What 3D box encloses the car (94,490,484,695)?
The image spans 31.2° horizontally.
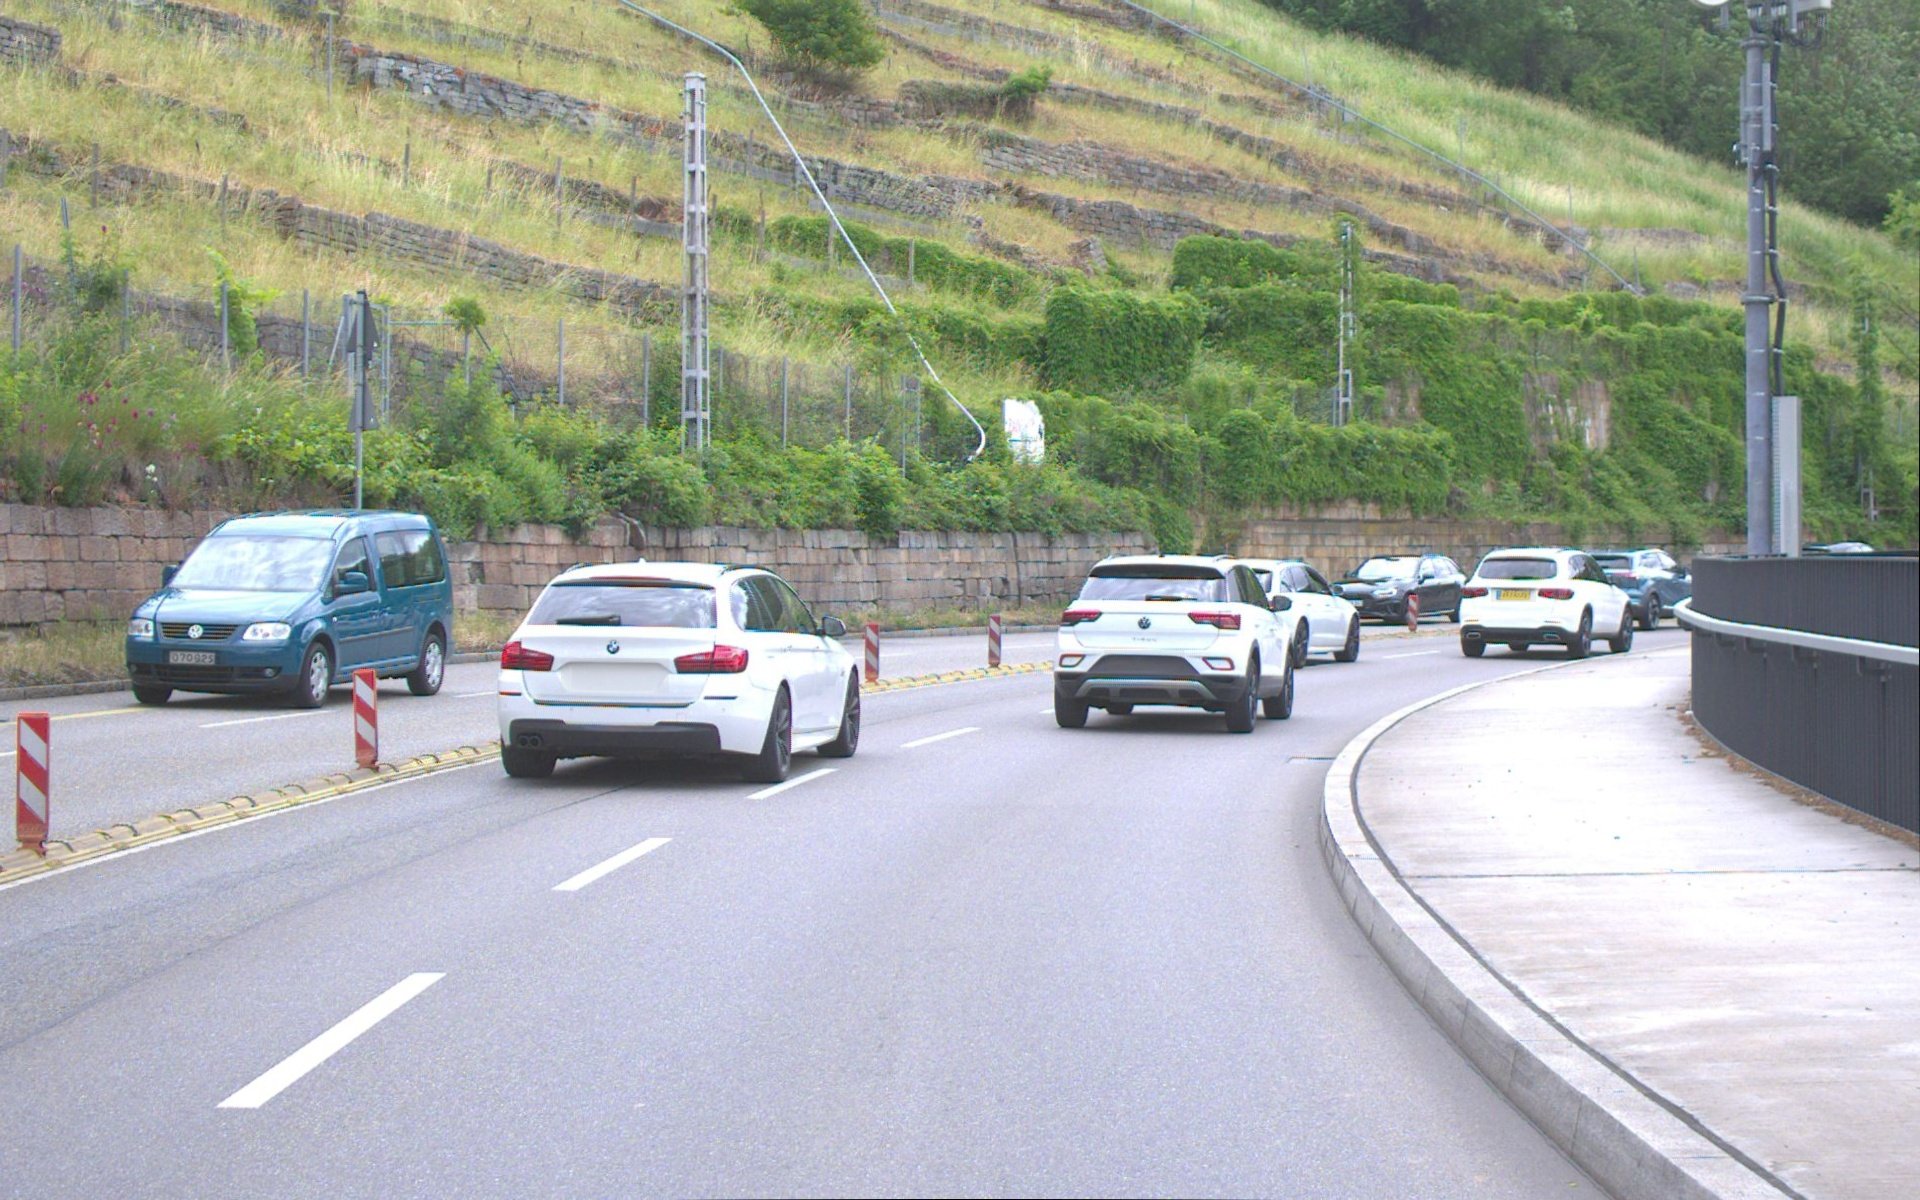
[{"bbox_3d":[-6.310,-0.111,32.944,1.852,1.776,4.731,2,1,13],"label":"car"}]

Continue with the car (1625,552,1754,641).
[{"bbox_3d":[16.132,-0.054,75.883,1.872,1.756,3.994,-2,-3,26],"label":"car"}]

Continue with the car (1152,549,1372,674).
[{"bbox_3d":[4.230,0.203,47.449,1.995,1.498,4.663,-4,-2,17],"label":"car"}]

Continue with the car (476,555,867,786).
[{"bbox_3d":[-1.904,0.421,24.122,1.828,1.455,4.484,0,1,7],"label":"car"}]

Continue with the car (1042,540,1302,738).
[{"bbox_3d":[2.028,0.298,31.808,1.829,1.600,3.998,2,2,12],"label":"car"}]

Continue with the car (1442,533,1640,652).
[{"bbox_3d":[8.851,-0.126,52.134,1.996,1.712,4.108,-1,0,24],"label":"car"}]

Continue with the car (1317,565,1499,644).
[{"bbox_3d":[9.199,0.070,70.299,1.855,1.408,4.407,2,3,35],"label":"car"}]

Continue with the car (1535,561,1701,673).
[{"bbox_3d":[12.655,0.316,65.989,1.996,2.007,3.994,-3,-1,27],"label":"car"}]
